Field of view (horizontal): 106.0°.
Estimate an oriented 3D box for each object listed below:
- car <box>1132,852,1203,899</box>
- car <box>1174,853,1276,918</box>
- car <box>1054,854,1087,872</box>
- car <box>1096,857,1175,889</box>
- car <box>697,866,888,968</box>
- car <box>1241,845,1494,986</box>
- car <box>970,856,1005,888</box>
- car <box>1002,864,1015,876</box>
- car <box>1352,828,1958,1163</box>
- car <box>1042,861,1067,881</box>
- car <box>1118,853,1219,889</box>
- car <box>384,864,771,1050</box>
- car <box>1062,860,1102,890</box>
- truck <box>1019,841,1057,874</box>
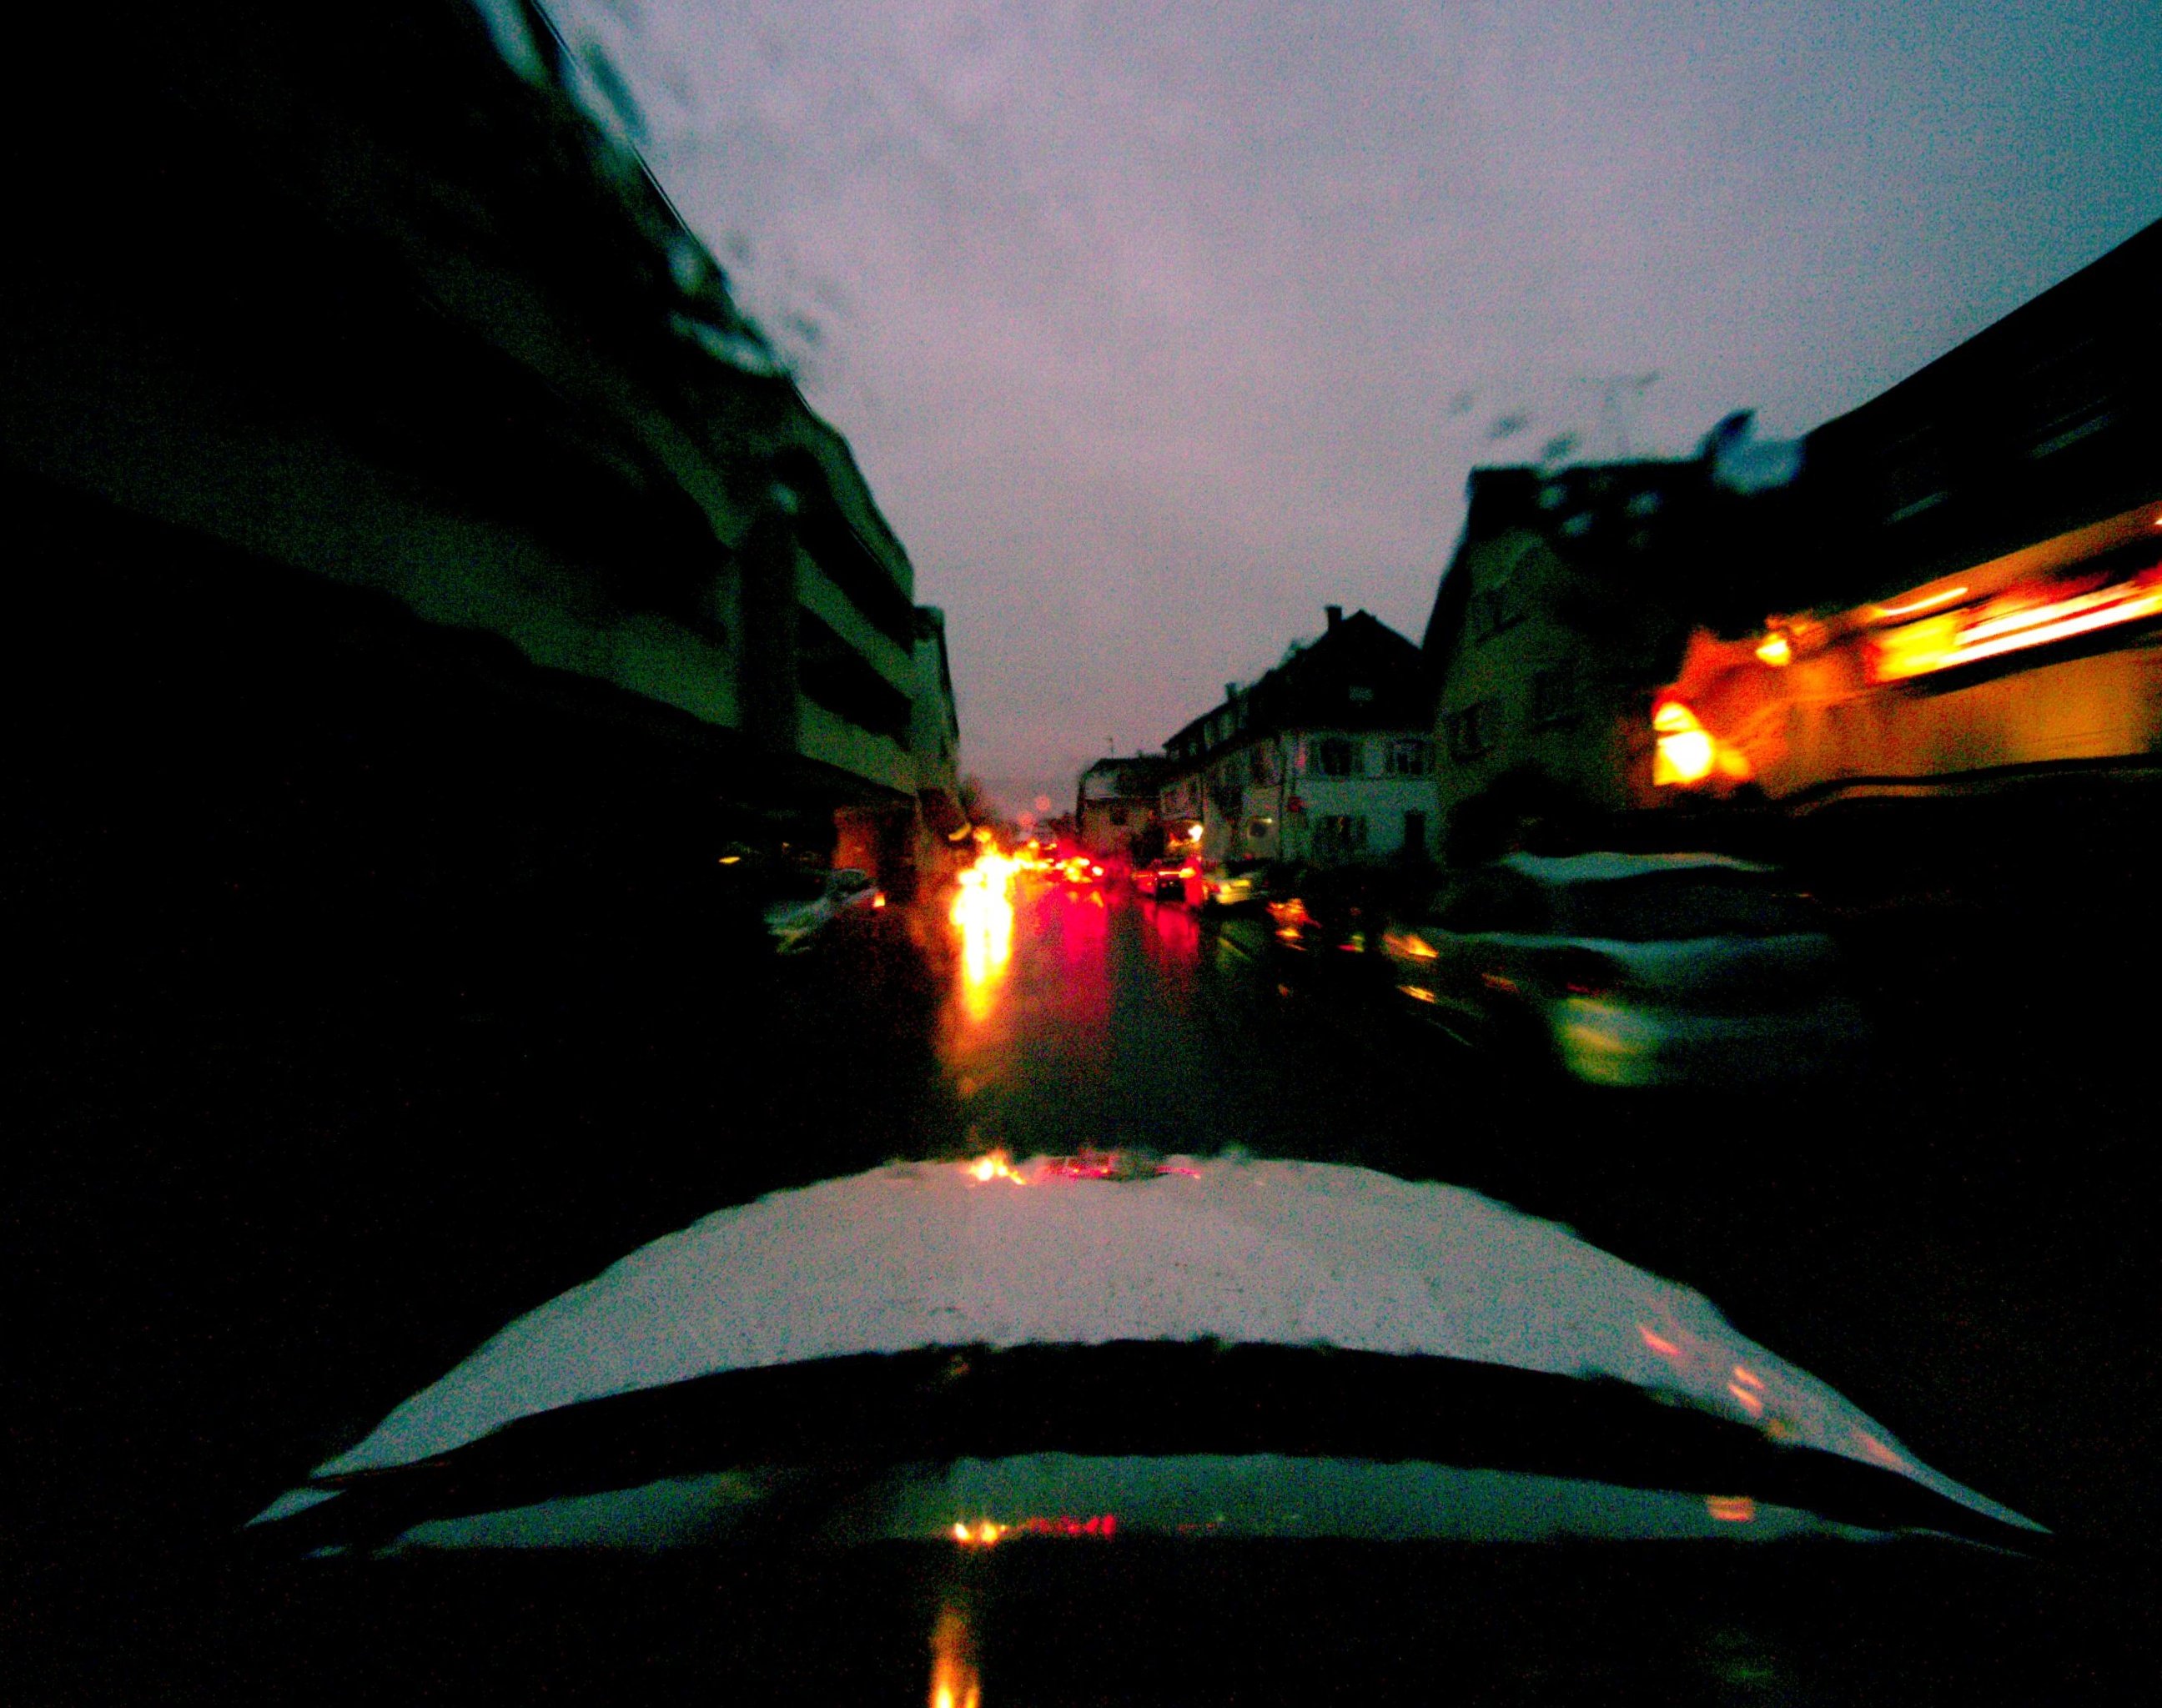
[{"bbox_3d":[3.184,0.769,30.894,1.878,1.547,4.665,-3,0,-4],"label":"car"},{"bbox_3d":[3.736,0.781,21.868,1.789,1.460,4.528,-3,-1,-1],"label":"car"},{"bbox_3d":[-1.278,1.084,100.829,4.083,2.163,1.913,-1,0,0],"label":"car"},{"bbox_3d":[3.438,1.190,51.473,4.605,1.776,1.938,-2,0,-11],"label":"car"},{"bbox_3d":[-4.719,0.942,14.061,1.669,1.446,4.428,0,0,1],"label":"car"},{"bbox_3d":[3.579,0.693,11.190,1.817,1.423,4.608,-4,-1,1],"label":"car"},{"bbox_3d":[-5.083,0.935,44.379,1.792,1.642,3.804,0,0,-6],"label":"car"},{"bbox_3d":[-9.510,2.056,106.047,1.636,1.535,3.399,-1,-1,-6],"label":"car"},{"bbox_3d":[3.243,0.669,5.634,1.619,1.441,3.803,-4,-1,4],"label":"car"},{"bbox_3d":[-2.069,1.289,62.216,1.636,1.481,3.263,0,0,-7],"label":"car"},{"bbox_3d":[4.182,0.814,39.188,4.463,1.473,1.893,-3,0,-8],"label":"car"},{"bbox_3d":[-5.009,0.892,8.848,1.608,1.533,3.930,0,0,2],"label":"car"},{"bbox_3d":[0.027,1.041,41.661,1.636,1.481,3.371,0,-1,-7],"label":"car"},{"bbox_3d":[-4.381,0.390,81.035,3.014,3.129,7.976,0,0,-8],"label":"truck"}]
